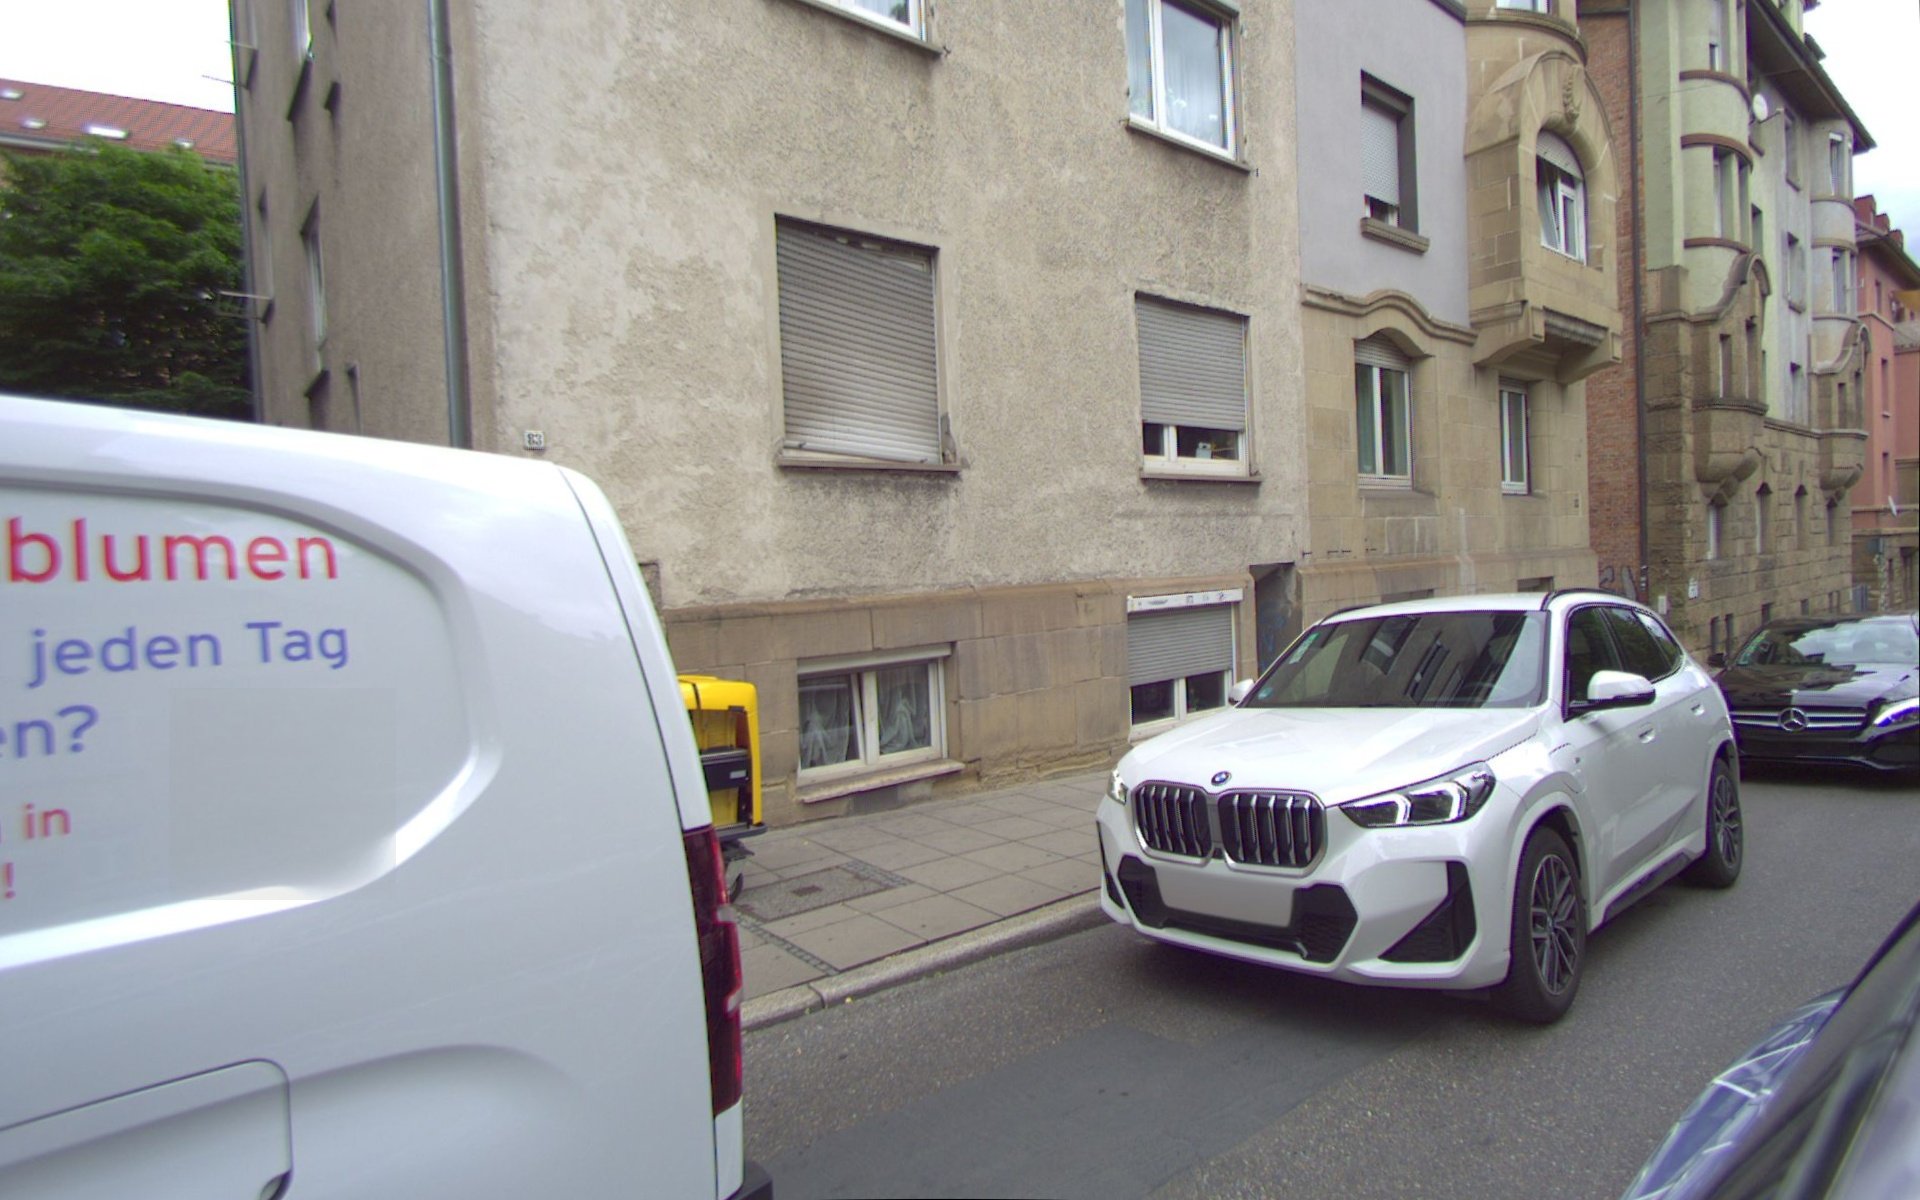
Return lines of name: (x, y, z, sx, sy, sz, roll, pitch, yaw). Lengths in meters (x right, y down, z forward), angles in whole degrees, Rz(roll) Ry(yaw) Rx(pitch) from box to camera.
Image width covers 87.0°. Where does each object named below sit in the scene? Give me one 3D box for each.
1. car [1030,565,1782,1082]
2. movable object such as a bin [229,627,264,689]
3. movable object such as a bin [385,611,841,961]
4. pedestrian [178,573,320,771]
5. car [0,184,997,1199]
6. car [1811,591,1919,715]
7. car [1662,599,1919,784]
car: (2.556, 0.719, 5.236, 4.276, 1.576, 1.857, -1, -4, -42)
movable object such as a bin: (-10.990, 0.884, 15.587, 0.405, 0.923, 0.340, 0, 0, -40)
movable object such as a bin: (-1.794, 0.793, 5.371, 1.979, 1.391, 1.223, -1, 2, -43)
pedestrian: (-6.545, 0.616, 9.323, 0.808, 1.666, 0.773, 0, 6, 42)
car: (-2.306, 0.575, 0.910, 4.597, 1.798, 1.977, -1, -3, -42)
car: (13.527, 0.640, 13.949, 4.226, 1.534, 1.935, -1, -3, -40)
car: (8.459, 0.731, 9.636, 4.133, 1.395, 1.882, -1, -3, -41)
